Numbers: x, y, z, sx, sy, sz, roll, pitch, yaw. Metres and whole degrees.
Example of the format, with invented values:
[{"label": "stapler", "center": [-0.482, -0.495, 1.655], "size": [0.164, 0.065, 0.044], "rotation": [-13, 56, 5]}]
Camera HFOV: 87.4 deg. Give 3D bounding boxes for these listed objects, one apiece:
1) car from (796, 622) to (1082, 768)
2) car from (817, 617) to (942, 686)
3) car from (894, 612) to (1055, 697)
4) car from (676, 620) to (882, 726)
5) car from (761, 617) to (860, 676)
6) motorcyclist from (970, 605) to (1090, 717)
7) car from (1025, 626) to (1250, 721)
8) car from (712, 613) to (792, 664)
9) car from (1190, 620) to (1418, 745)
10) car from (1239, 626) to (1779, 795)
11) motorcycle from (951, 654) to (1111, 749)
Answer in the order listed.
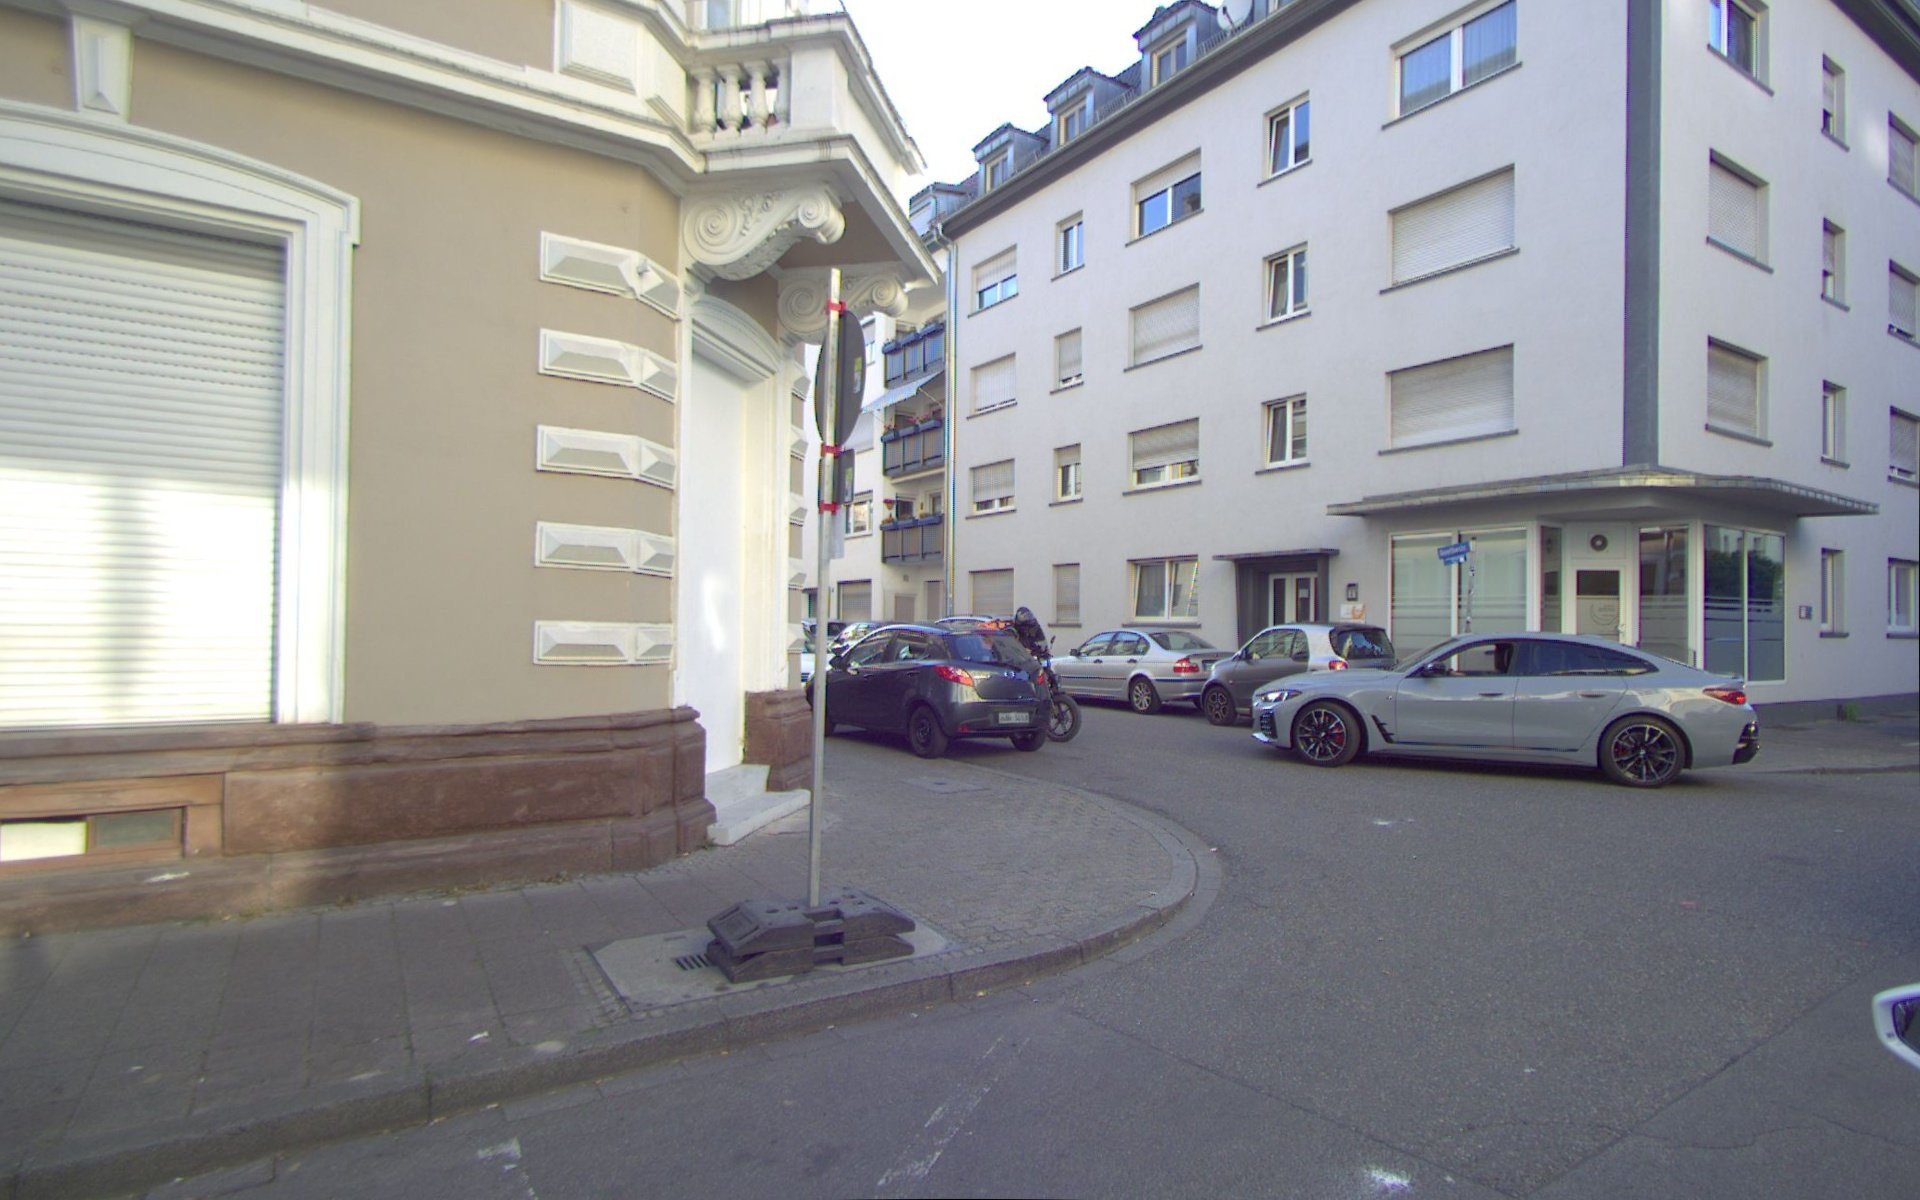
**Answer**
[{"label": "car", "center": [-0.389, 1.023, 12.265], "size": [1.713, 1.470, 3.639], "rotation": [2, -2, -36]}, {"label": "car", "center": [-2.148, 1.280, 25.982], "size": [1.587, 1.560, 3.685], "rotation": [2, 0, -34]}, {"label": "car", "center": [0.232, 1.126, 22.255], "size": [1.586, 1.626, 3.993], "rotation": [2, 0, -33]}, {"label": "car", "center": [-3.103, 1.081, 16.440], "size": [1.884, 1.481, 4.286], "rotation": [1, -2, -32]}, {"label": "car", "center": [-4.505, 1.332, 29.956], "size": [1.586, 1.560, 3.470], "rotation": [2, 0, -33]}, {"label": "motorcyclist", "center": [0.892, 0.756, 12.938], "size": [0.964, 1.347, 1.214], "rotation": [2, -1, -40]}, {"label": "car", "center": [3.062, 1.234, 18.170], "size": [1.586, 1.422, 4.179], "rotation": [2, -1, -33]}, {"label": "car", "center": [-7.187, 1.288, 34.478], "size": [1.585, 1.560, 3.472], "rotation": [2, 0, -32]}, {"label": "car", "center": [4.939, 1.117, 14.660], "size": [1.576, 1.560, 2.771], "rotation": [2, 0, -32]}, {"label": "car", "center": [5.557, 1.047, 10.853], "size": [4.717, 1.470, 1.933], "rotation": [0, -1, 22]}, {"label": "motorcycle", "center": [0.879, 1.257, 12.948], "size": [0.964, 1.042, 1.973], "rotation": [2, -2, -40]}]
